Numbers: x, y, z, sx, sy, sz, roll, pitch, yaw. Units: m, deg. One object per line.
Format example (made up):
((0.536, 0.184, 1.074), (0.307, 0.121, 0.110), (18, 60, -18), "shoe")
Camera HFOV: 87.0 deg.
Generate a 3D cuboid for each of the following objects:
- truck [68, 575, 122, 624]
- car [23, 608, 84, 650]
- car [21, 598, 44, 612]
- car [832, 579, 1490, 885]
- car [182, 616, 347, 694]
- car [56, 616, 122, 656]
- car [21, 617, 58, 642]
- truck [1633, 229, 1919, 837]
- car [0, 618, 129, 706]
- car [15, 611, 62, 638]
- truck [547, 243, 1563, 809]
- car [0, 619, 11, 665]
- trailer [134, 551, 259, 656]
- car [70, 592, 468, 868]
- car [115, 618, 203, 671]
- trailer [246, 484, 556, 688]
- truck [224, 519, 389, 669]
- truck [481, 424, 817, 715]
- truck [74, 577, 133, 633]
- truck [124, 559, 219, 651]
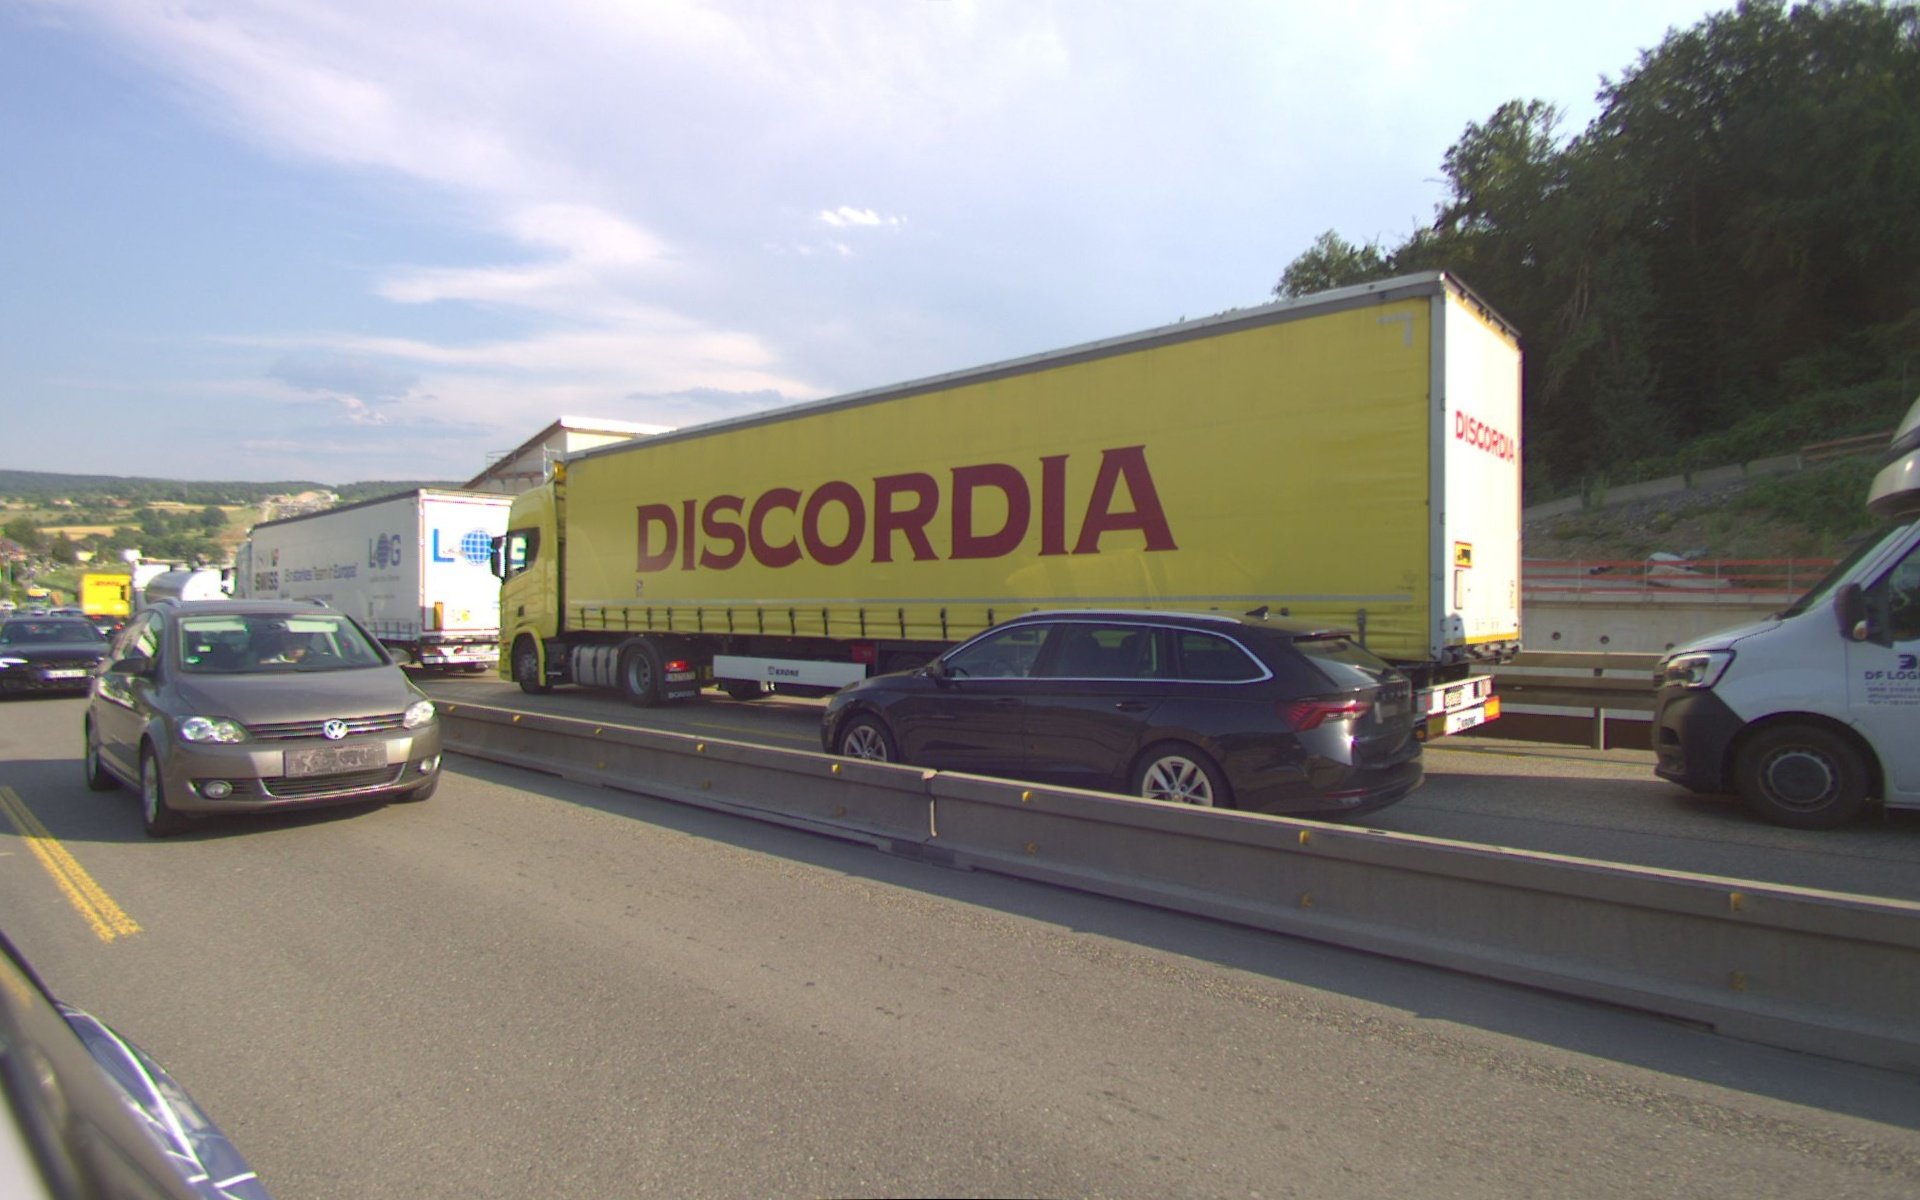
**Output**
((-72.221, -0.009, 84.416), (2.859, 3.913, 9.496), (1, -1, -44), "truck")
((-43.430, 1.361, 48.466), (4.000, 1.925, 1.842), (-1, -1, 43), "car")
((-145.946, 0.786, 159.235), (4.749, 2.015, 1.799), (-3, -4, 39), "car")
((1.163, 0.684, 7.104), (4.284, 1.535, 1.637), (-1, 0, 40), "car")
((-14.622, 1.063, 21.167), (4.672, 1.436, 1.789), (-1, 0, 42), "car")
((-34.875, 1.393, 40.513), (3.690, 1.521, 1.639), (-1, -1, 43), "car")
((-58.961, 1.873, 64.778), (1.704, 1.541, 4.004), (0, 0, -43), "car")
((8.155, -0.419, 5.181), (7.610, 3.489, 2.423), (-1, -1, 40), "truck")
((-16.643, 1.049, 18.418), (4.000, 1.409, 1.842), (-1, -1, 43), "car")
((-53.012, 1.415, 58.205), (1.773, 1.423, 4.003), (5, -3, -44), "car")
((-0.602, -0.458, 13.042), (14.147, 4.119, 2.679), (-1, -1, 41), "truck")
((-31.359, 1.367, 32.066), (4.001, 1.409, 1.675), (-2, 0, 44), "car")
((-32.033, 0.183, 42.246), (10.580, 3.910, 2.568), (-1, -1, 44), "trailer")
((-5.504, 0.767, 7.840), (4.099, 1.586, 1.665), (-1, 0, 43), "car")
((-23.963, 1.266, 30.214), (1.637, 1.440, 4.569), (0, 0, -44), "car")
((-14.926, -0.200, 26.007), (13.971, 4.066, 2.826), (-1, -1, 43), "trailer")
((-19.880, -0.124, 30.665), (6.101, 4.066, 2.813), (-1, -1, 43), "truck")
((-5.489, -0.393, 17.345), (6.098, 4.119, 2.685), (-1, -1, 41), "truck")
((-61.374, 0.370, 72.412), (2.858, 3.738, 9.500), (1, -1, -42), "truck")
((-35.846, 0.245, 45.945), (6.205, 3.917, 2.570), (-1, -1, 44), "truck")
